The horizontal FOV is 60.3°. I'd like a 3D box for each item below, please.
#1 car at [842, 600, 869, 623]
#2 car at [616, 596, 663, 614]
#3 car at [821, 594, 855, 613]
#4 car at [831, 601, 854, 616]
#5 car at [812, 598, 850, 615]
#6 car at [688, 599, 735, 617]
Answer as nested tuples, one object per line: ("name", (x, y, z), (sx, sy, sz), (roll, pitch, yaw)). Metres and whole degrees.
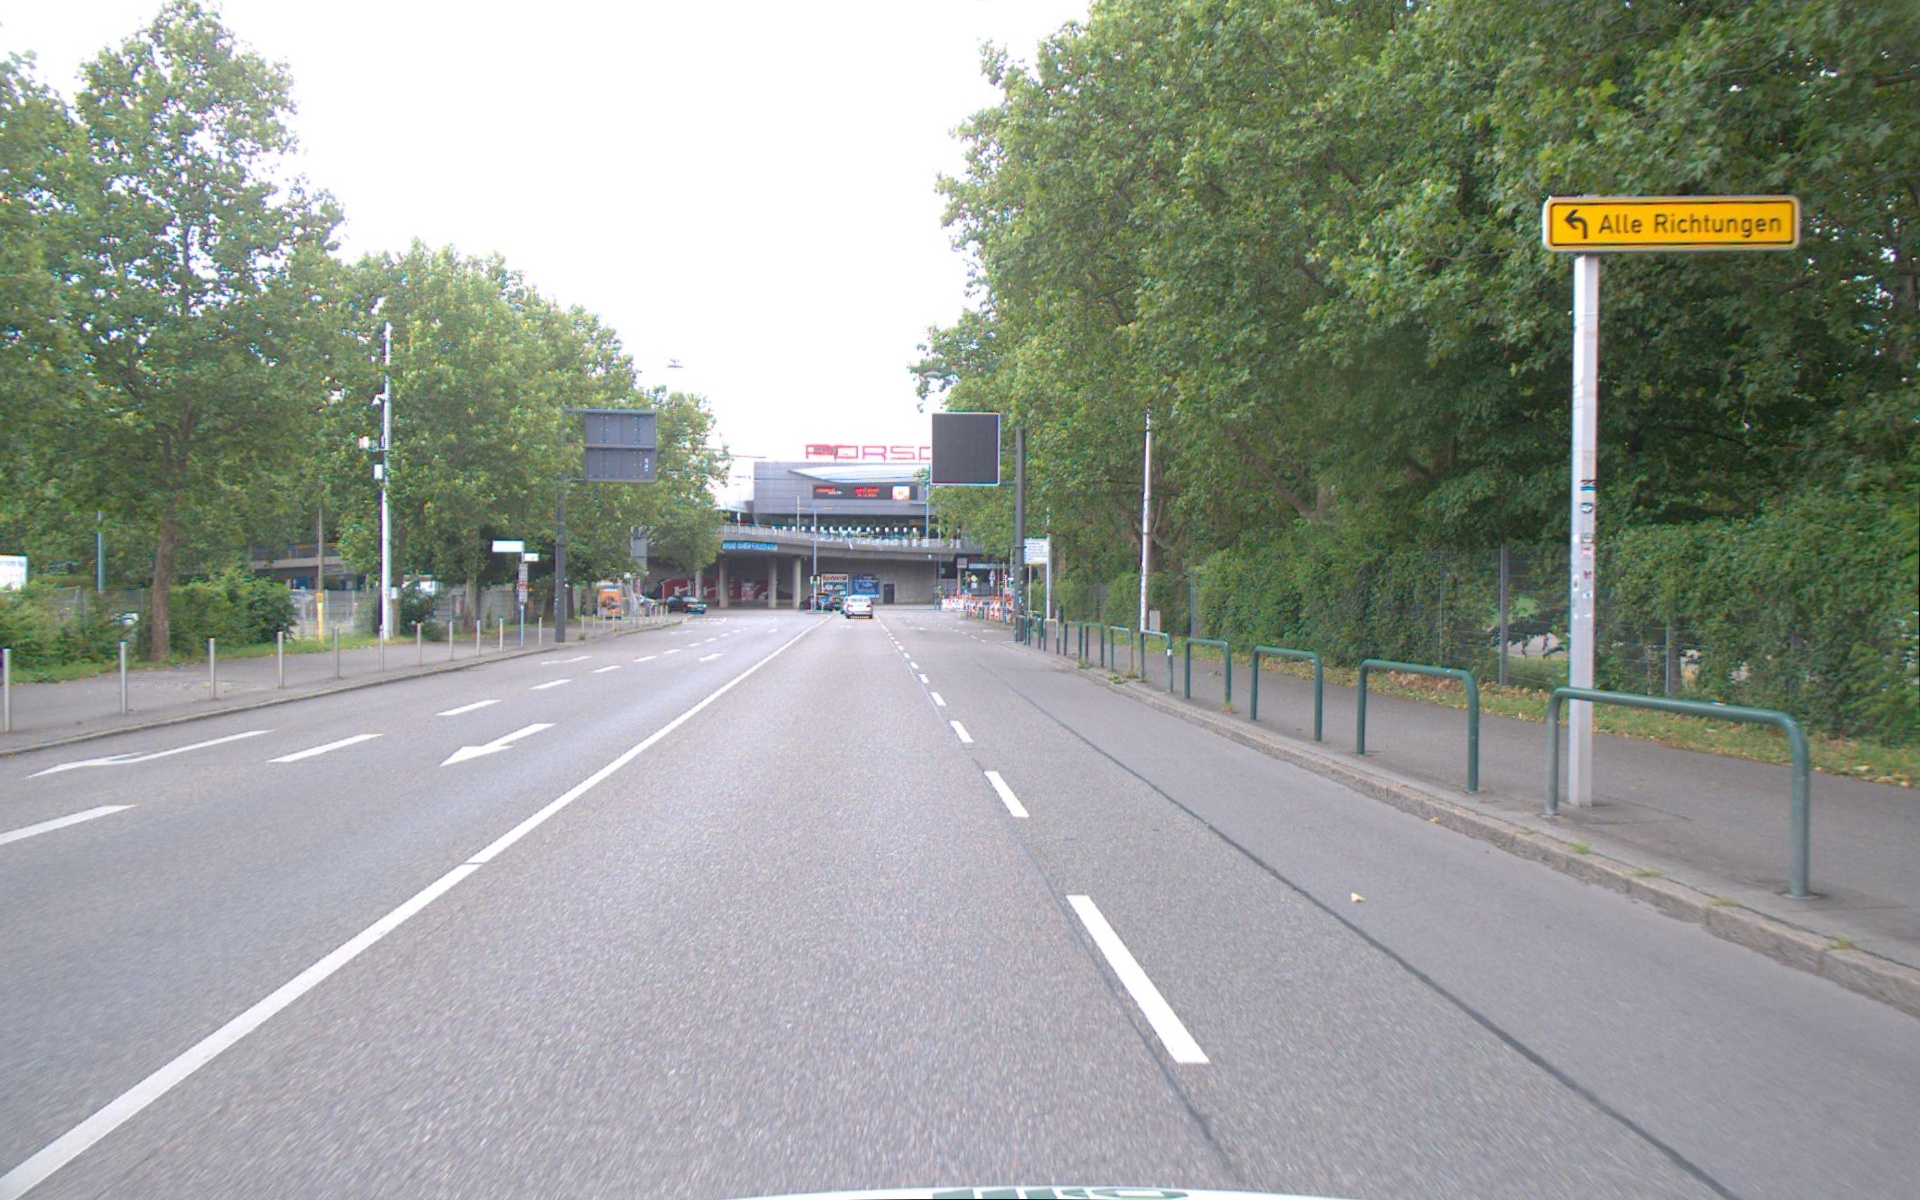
("car", (-7.107, 0.743, 112.826), (1.743, 1.486, 3.820), (2, 0, -2))
("car", (-28.369, 0.442, 146.320), (3.787, 1.606, 1.627), (0, 0, 16))
("car", (-11.542, 0.358, 156.065), (1.980, 1.728, 4.041), (1, 0, -23))
("car", (-9.595, 0.679, 135.023), (1.387, 1.133, 3.027), (2, 0, -13))
("car", (-11.582, 0.547, 148.571), (1.971, 1.512, 3.963), (0, 0, -28))
("car", (-20.033, 0.663, 133.311), (3.504, 1.295, 1.659), (2, 0, 29))
